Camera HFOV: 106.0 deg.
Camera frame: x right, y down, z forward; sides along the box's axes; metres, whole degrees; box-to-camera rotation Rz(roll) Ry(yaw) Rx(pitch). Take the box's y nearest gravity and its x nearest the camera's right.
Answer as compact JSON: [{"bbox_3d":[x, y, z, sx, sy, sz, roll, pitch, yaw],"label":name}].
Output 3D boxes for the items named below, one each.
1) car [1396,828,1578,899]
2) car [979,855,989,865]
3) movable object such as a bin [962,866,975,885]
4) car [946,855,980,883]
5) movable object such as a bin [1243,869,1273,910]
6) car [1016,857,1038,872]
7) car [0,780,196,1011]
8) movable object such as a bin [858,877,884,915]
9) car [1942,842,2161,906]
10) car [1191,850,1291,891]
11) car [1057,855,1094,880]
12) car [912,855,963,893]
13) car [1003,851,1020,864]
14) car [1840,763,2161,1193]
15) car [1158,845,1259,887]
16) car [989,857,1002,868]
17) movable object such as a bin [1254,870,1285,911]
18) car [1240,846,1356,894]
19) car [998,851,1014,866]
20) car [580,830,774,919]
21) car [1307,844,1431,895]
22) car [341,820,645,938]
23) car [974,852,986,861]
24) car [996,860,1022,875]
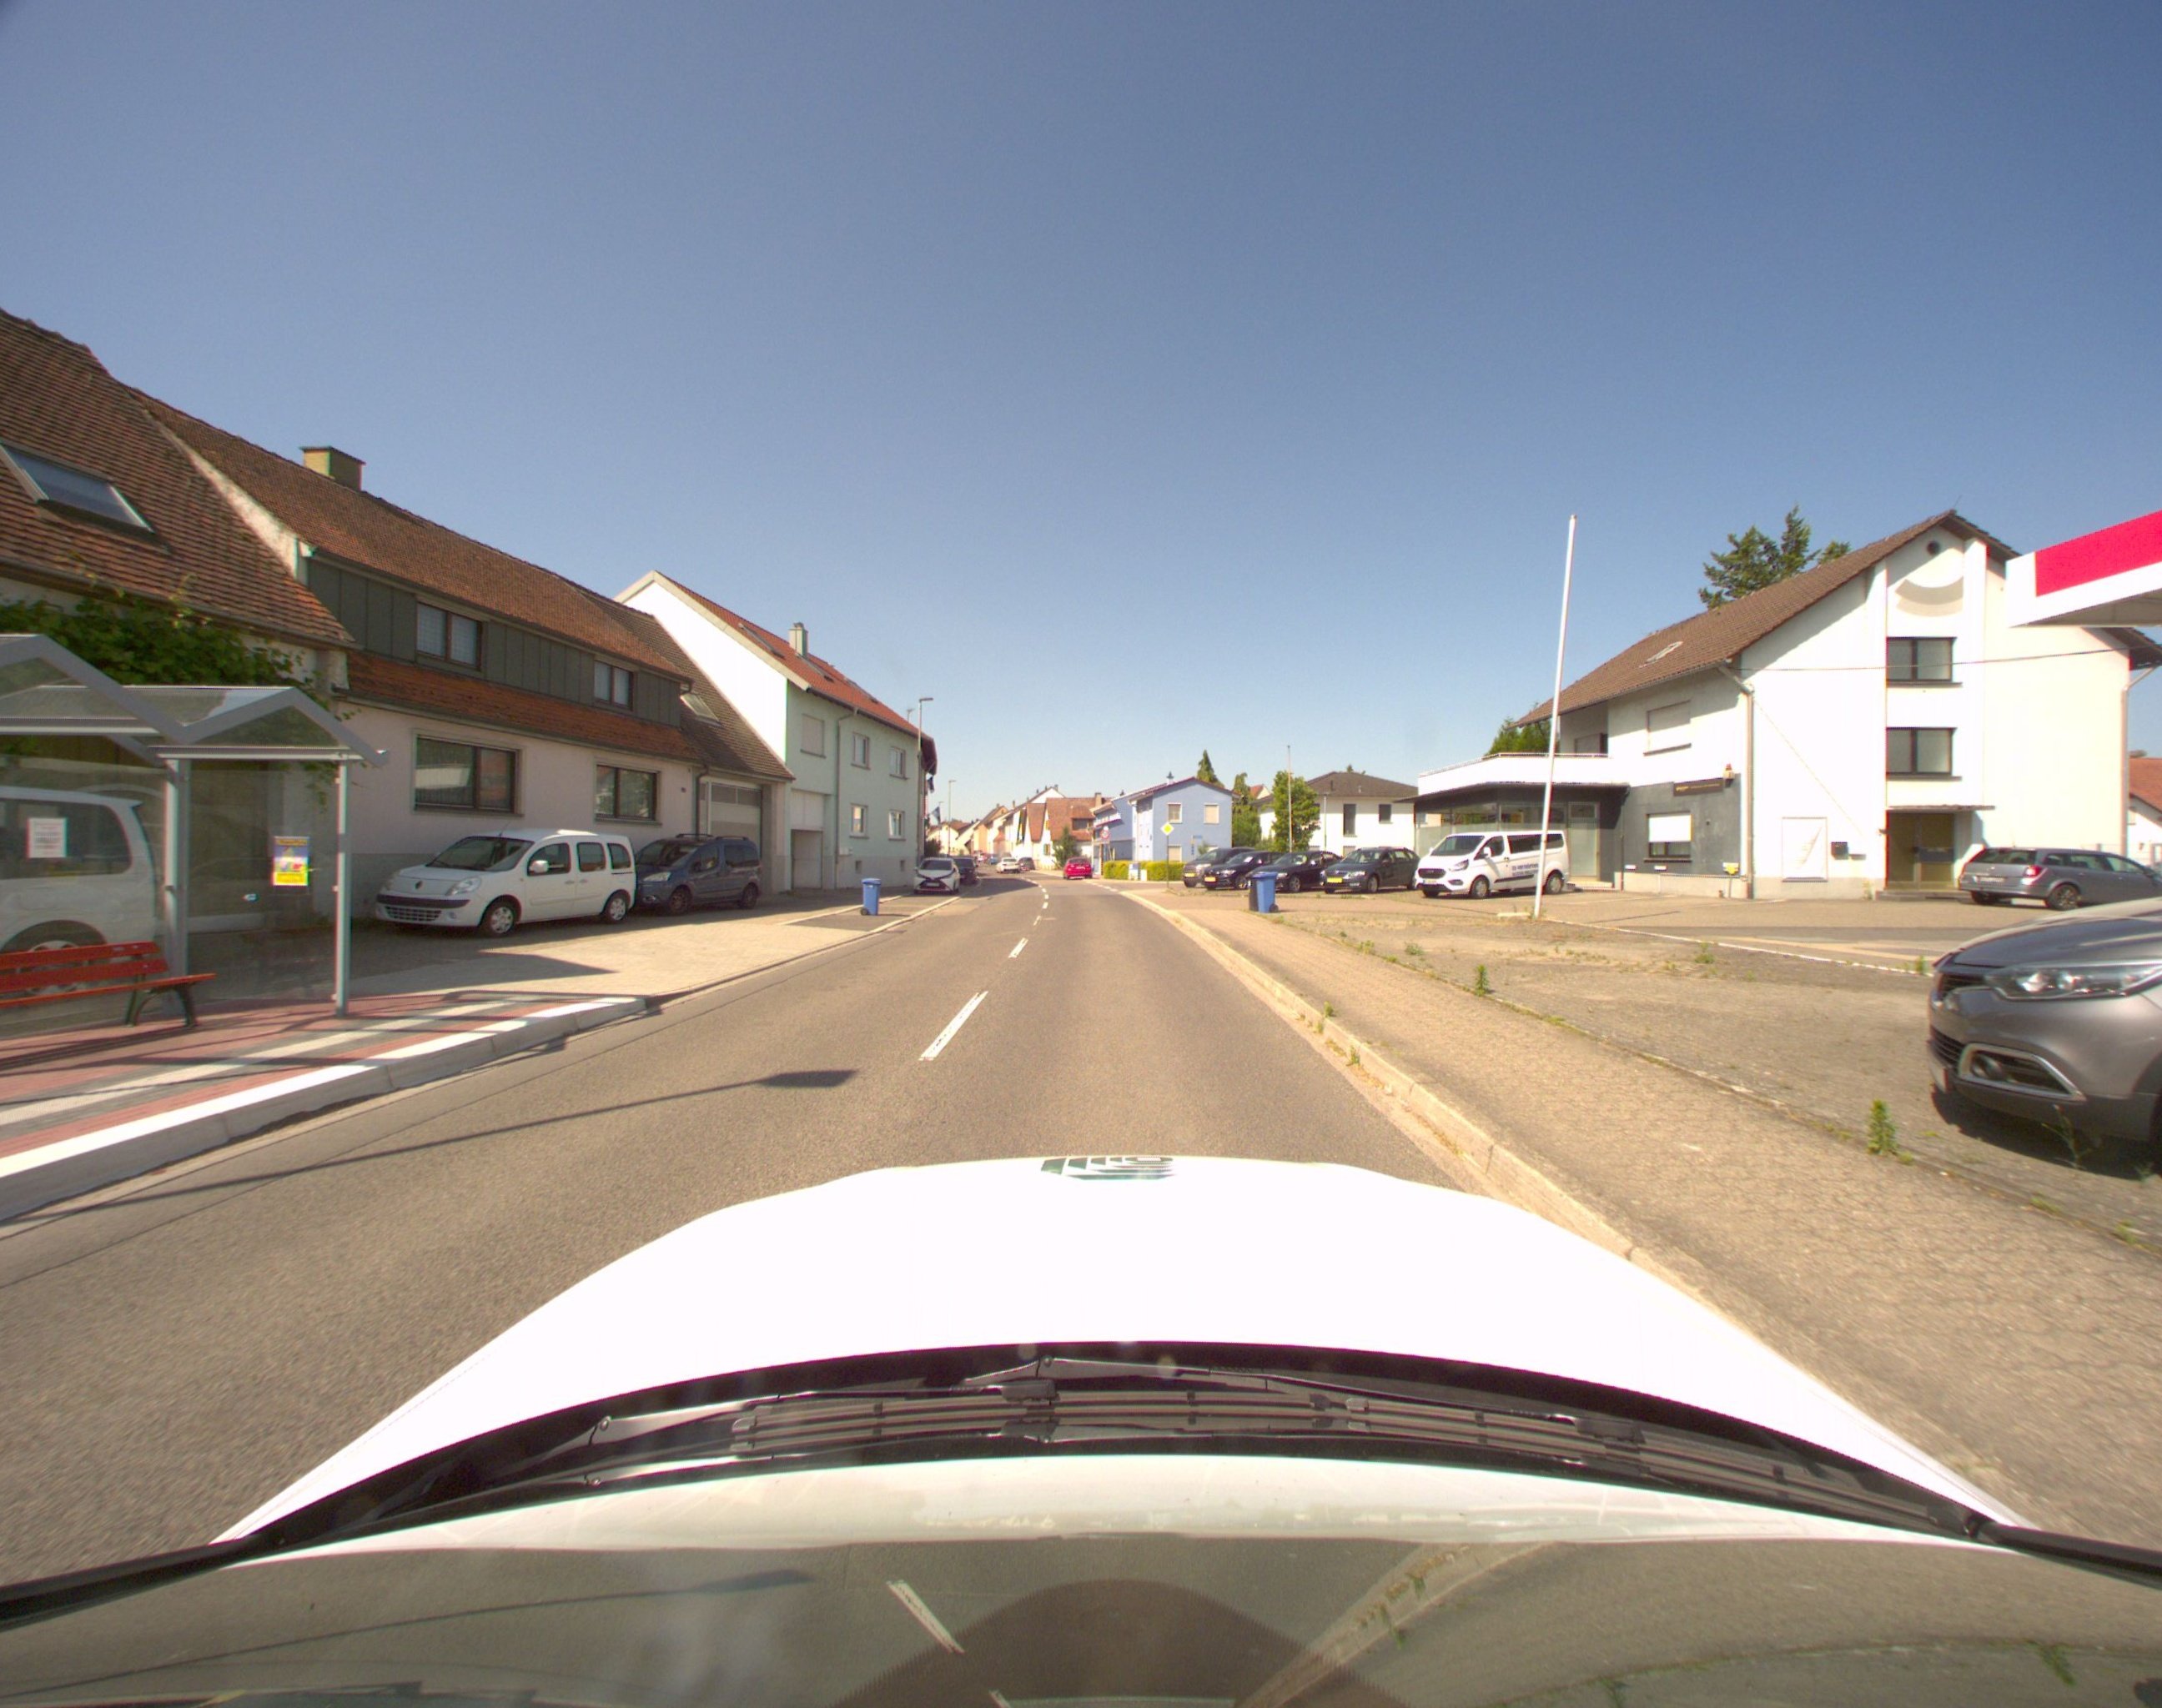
[{"bbox_3d":[12.593,0.260,25.215,5.294,2.013,2.214,0,0,-25],"label":"car"},{"bbox_3d":[-16.143,0.993,135.605,1.422,1.515,3.289,1,0,-13],"label":"car"},{"bbox_3d":[-5.881,1.130,42.683,0.552,0.928,0.822,5,-1,-12],"label":"movable object such as a bin"},{"bbox_3d":[-6.674,0.831,46.231,1.676,1.437,3.987,3,-1,-6],"label":"car"},{"bbox_3d":[4.213,0.835,19.370,0.557,0.936,0.513,0,0,-8],"label":"movable object such as a bin"},{"bbox_3d":[-5.772,1.104,86.166,1.706,1.433,3.872,1,0,-13],"label":"car"},{"bbox_3d":[-10.407,0.332,5.880,2.118,1.986,5.266,1,-1,1],"label":"car"},{"bbox_3d":[-5.404,1.071,20.951,0.557,0.936,0.513,2,-1,-8],"label":"movable object such as a bin"},{"bbox_3d":[23.695,0.463,19.647,4.050,1.480,1.810,0,-1,-2],"label":"car"},{"bbox_3d":[6.138,0.586,31.063,3.894,1.447,1.730,0,0,-42],"label":"car"},{"bbox_3d":[-0.424,0.872,55.010,1.733,1.494,4.339,-1,2,-11],"label":"car"},{"bbox_3d":[-5.884,0.799,33.633,1.681,1.462,3.643,1,-1,-4],"label":"car"},{"bbox_3d":[-8.809,0.438,102.945,1.706,1.497,3.437,1,0,-13],"label":"car"},{"bbox_3d":[5.537,0.396,2.782,4.128,1.555,1.786,-3,-2,39],"label":"car"},{"bbox_3d":[5.322,0.461,33.825,4.133,1.653,1.810,0,0,-38],"label":"car"},{"bbox_3d":[-12.462,1.233,118.248,1.422,1.515,3.289,1,0,-13],"label":"car"},{"bbox_3d":[4.363,0.839,18.870,0.557,0.939,0.513,0,0,-8],"label":"movable object such as a bin"},{"bbox_3d":[7.757,0.514,28.946,4.262,1.566,1.960,0,0,-42],"label":"car"},{"bbox_3d":[-9.982,0.625,107.653,1.651,1.910,3.610,1,-1,-13],"label":"car"},{"bbox_3d":[-9.460,0.446,19.539,1.825,1.793,4.355,3,0,10],"label":"car"},{"bbox_3d":[9.665,0.468,27.203,4.339,1.550,1.961,0,0,-40],"label":"car"},{"bbox_3d":[-10.152,0.399,14.595,1.957,1.774,4.285,1,-1,7],"label":"car"},{"bbox_3d":[-17.879,0.458,143.976,1.768,1.433,3.436,0,-1,-11],"label":"car"},{"bbox_3d":[-6.812,1.258,76.752,1.995,1.288,3.983,0,-1,-12],"label":"car"}]
